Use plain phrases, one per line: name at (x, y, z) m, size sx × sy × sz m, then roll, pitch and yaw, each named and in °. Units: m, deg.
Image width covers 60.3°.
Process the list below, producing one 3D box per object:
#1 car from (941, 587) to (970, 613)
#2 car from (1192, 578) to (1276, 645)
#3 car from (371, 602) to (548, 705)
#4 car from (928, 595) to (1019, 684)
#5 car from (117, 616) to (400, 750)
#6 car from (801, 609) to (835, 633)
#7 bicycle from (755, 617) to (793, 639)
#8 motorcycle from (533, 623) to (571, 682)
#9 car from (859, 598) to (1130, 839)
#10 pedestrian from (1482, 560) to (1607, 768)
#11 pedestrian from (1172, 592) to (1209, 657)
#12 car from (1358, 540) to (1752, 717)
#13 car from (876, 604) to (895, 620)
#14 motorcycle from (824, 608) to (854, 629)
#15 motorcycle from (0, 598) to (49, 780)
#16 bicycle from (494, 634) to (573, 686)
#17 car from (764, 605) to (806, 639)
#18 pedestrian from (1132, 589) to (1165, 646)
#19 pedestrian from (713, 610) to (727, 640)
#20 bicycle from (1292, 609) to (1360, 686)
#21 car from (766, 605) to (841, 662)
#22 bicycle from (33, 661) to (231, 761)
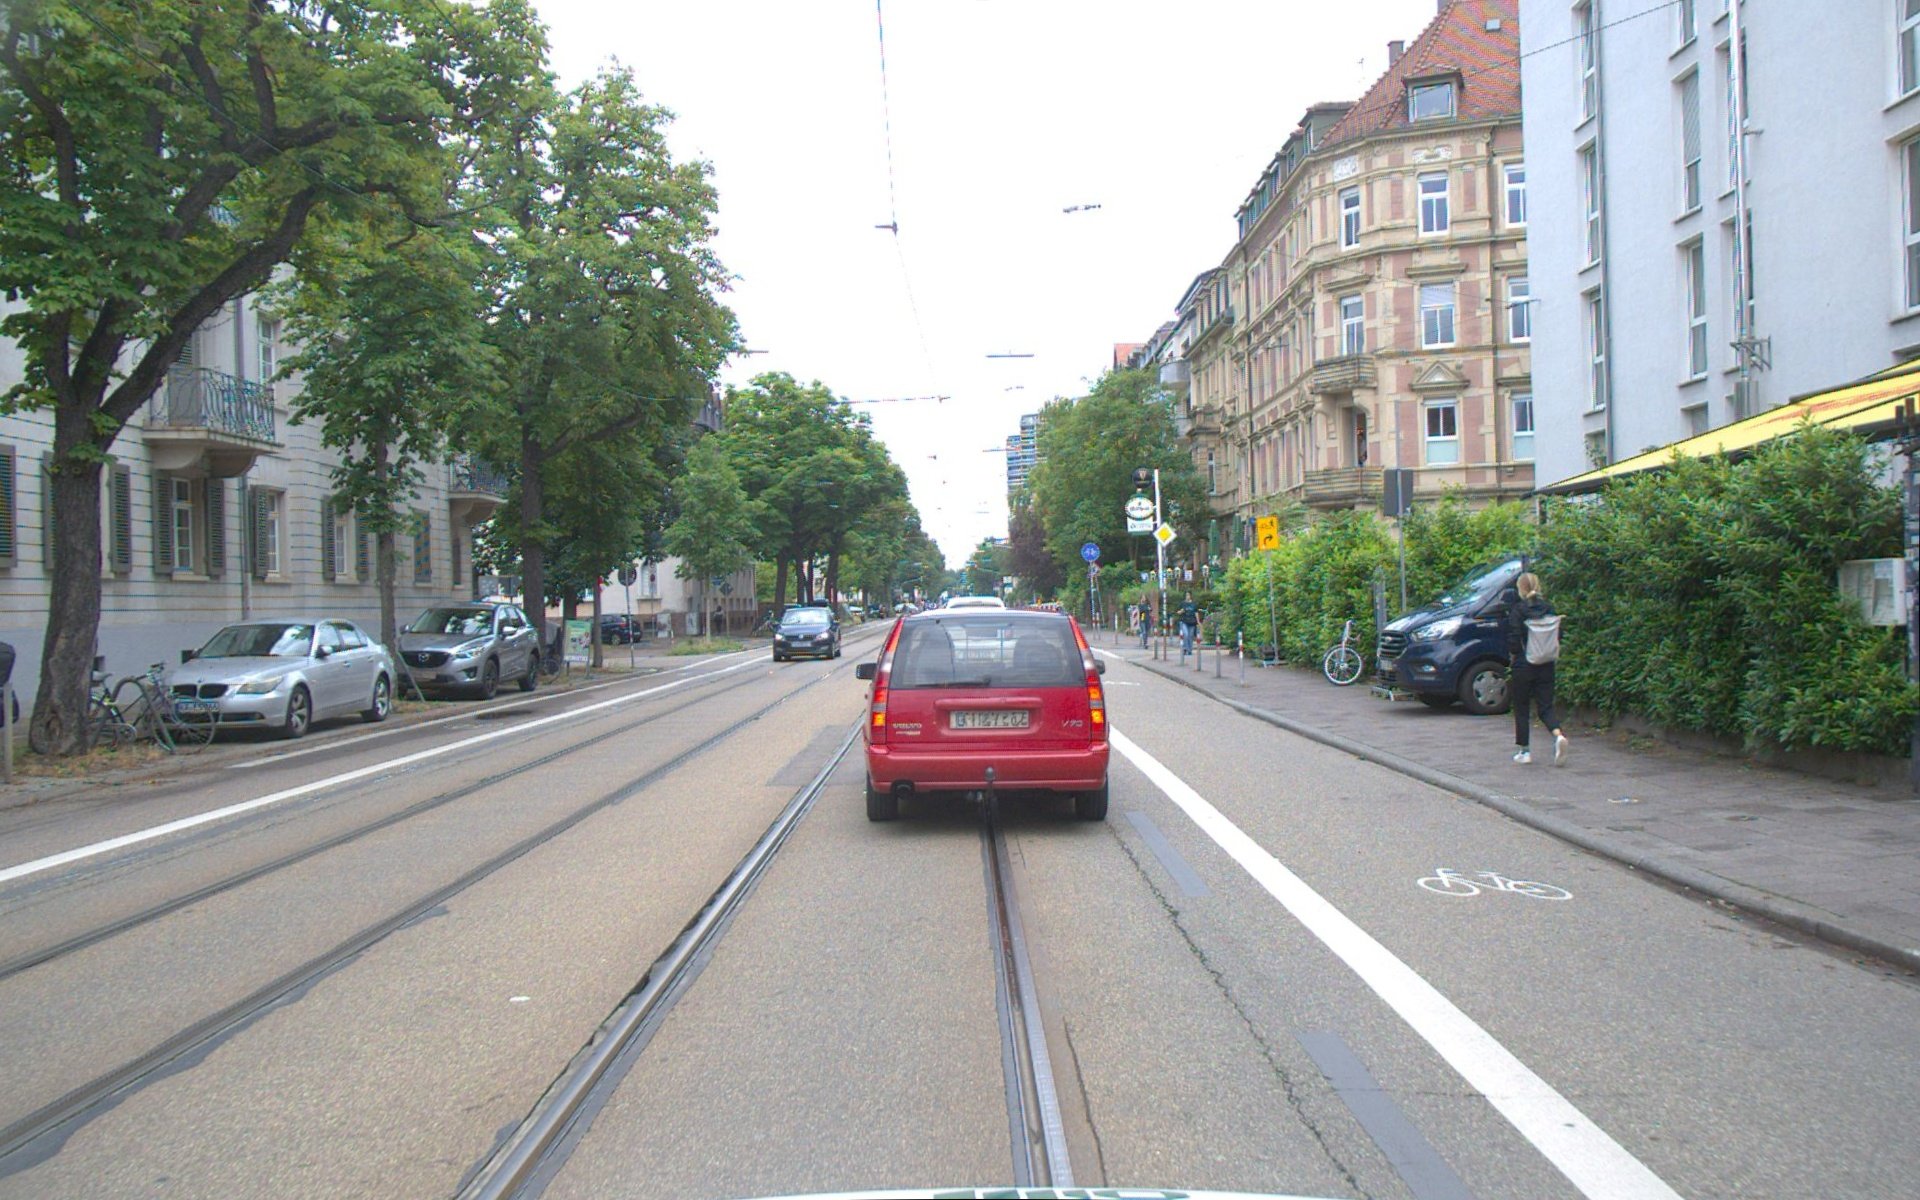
car at (-0.310, 0.020, 109.011) m, size 1.706 × 1.634 × 3.998 m, roll -1°, pitch 0°, yaw -2°
car at (8.483, 0.315, 50.852) m, size 2.008 × 1.910 × 5.033 m, roll -2°, pitch 0°, yaw 15°
car at (-8.903, 0.895, 29.785) m, size 1.799 × 1.690 × 4.293 m, roll 1°, pitch 0°, yaw 1°
car at (0.324, 0.756, 33.459) m, size 1.683 × 1.653 × 3.941 m, roll -1°, pitch 0°, yaw 2°
car at (-8.974, 0.988, 21.636) m, size 1.775 × 1.491 × 4.613 m, roll -1°, pitch 0°, yaw -1°
car at (-9.202, 1.356, 107.430) m, size 1.740 × 1.537 × 4.238 m, roll -1°, pitch 0°, yaw 1°
bicycle at (-9.454, 1.430, 84.214) m, size 1.883 × 1.141 × 0.624 m, roll 0°, pitch -1°, yaw -1°
motorcycle at (-9.323, 1.179, 37.827) m, size 0.529 × 1.279 × 2.139 m, roll -2°, pitch 0°, yaw -6°
car at (0.290, 0.732, 12.058) m, size 1.654 × 1.467 × 3.744 m, roll -1°, pitch 0°, yaw 2°
pedestrian at (5.064, 0.539, 14.387) m, size 0.611 × 1.700 × 0.959 m, roll -4°, pitch 0°, yaw -1°
pedestrian at (6.053, 0.641, 43.428) m, size 0.777 × 1.664 × 0.836 m, roll -3°, pitch -1°, yaw 0°
car at (7.332, 0.346, 20.701) m, size 4.192 × 1.840 × 1.824 m, roll -4°, pitch 0°, yaw 1°
car at (-7.861, 1.260, 174.367) m, size 1.813 × 1.590 × 3.942 m, roll -1°, pitch 0°, yaw 0°
motorcycle at (-9.476, 1.442, 129.274) m, size 2.226 × 1.538 × 0.923 m, roll -2°, pitch -2°, yaw 35°
motorcycle at (-9.302, 0.832, 14.647) m, size 0.815 × 1.672 × 2.482 m, roll -2°, pitch 0°, yaw 8°
bicycle at (-8.841, 1.230, 34.309) m, size 1.347 × 1.022 × 0.930 m, roll 1°, pitch 0°, yaw 4°
car at (-9.334, 1.155, 88.388) m, size 1.858 × 1.684 × 4.224 m, roll -1°, pitch 0°, yaw -1°
pedestrian at (5.715, 0.528, 49.994) m, size 0.854 × 1.685 × 0.909 m, roll -2°, pitch 0°, yaw 12°
pedestrian at (-12.179, 1.246, 83.790) m, size 0.553 × 1.493 × 0.722 m, roll -2°, pitch -1°, yaw 0°
bicycle at (5.960, 0.756, 26.983) m, size 0.620 × 1.147 × 1.812 m, roll -4°, pitch 0°, yaw -1°
car at (-4.247, 0.884, 45.388) m, size 1.694 × 1.433 × 3.655 m, roll -2°, pitch 0°, yaw 0°
bicycle at (-9.091, 1.208, 18.198) m, size 1.857 × 1.045 × 0.563 m, roll 0°, pitch 0°, yaw -5°
